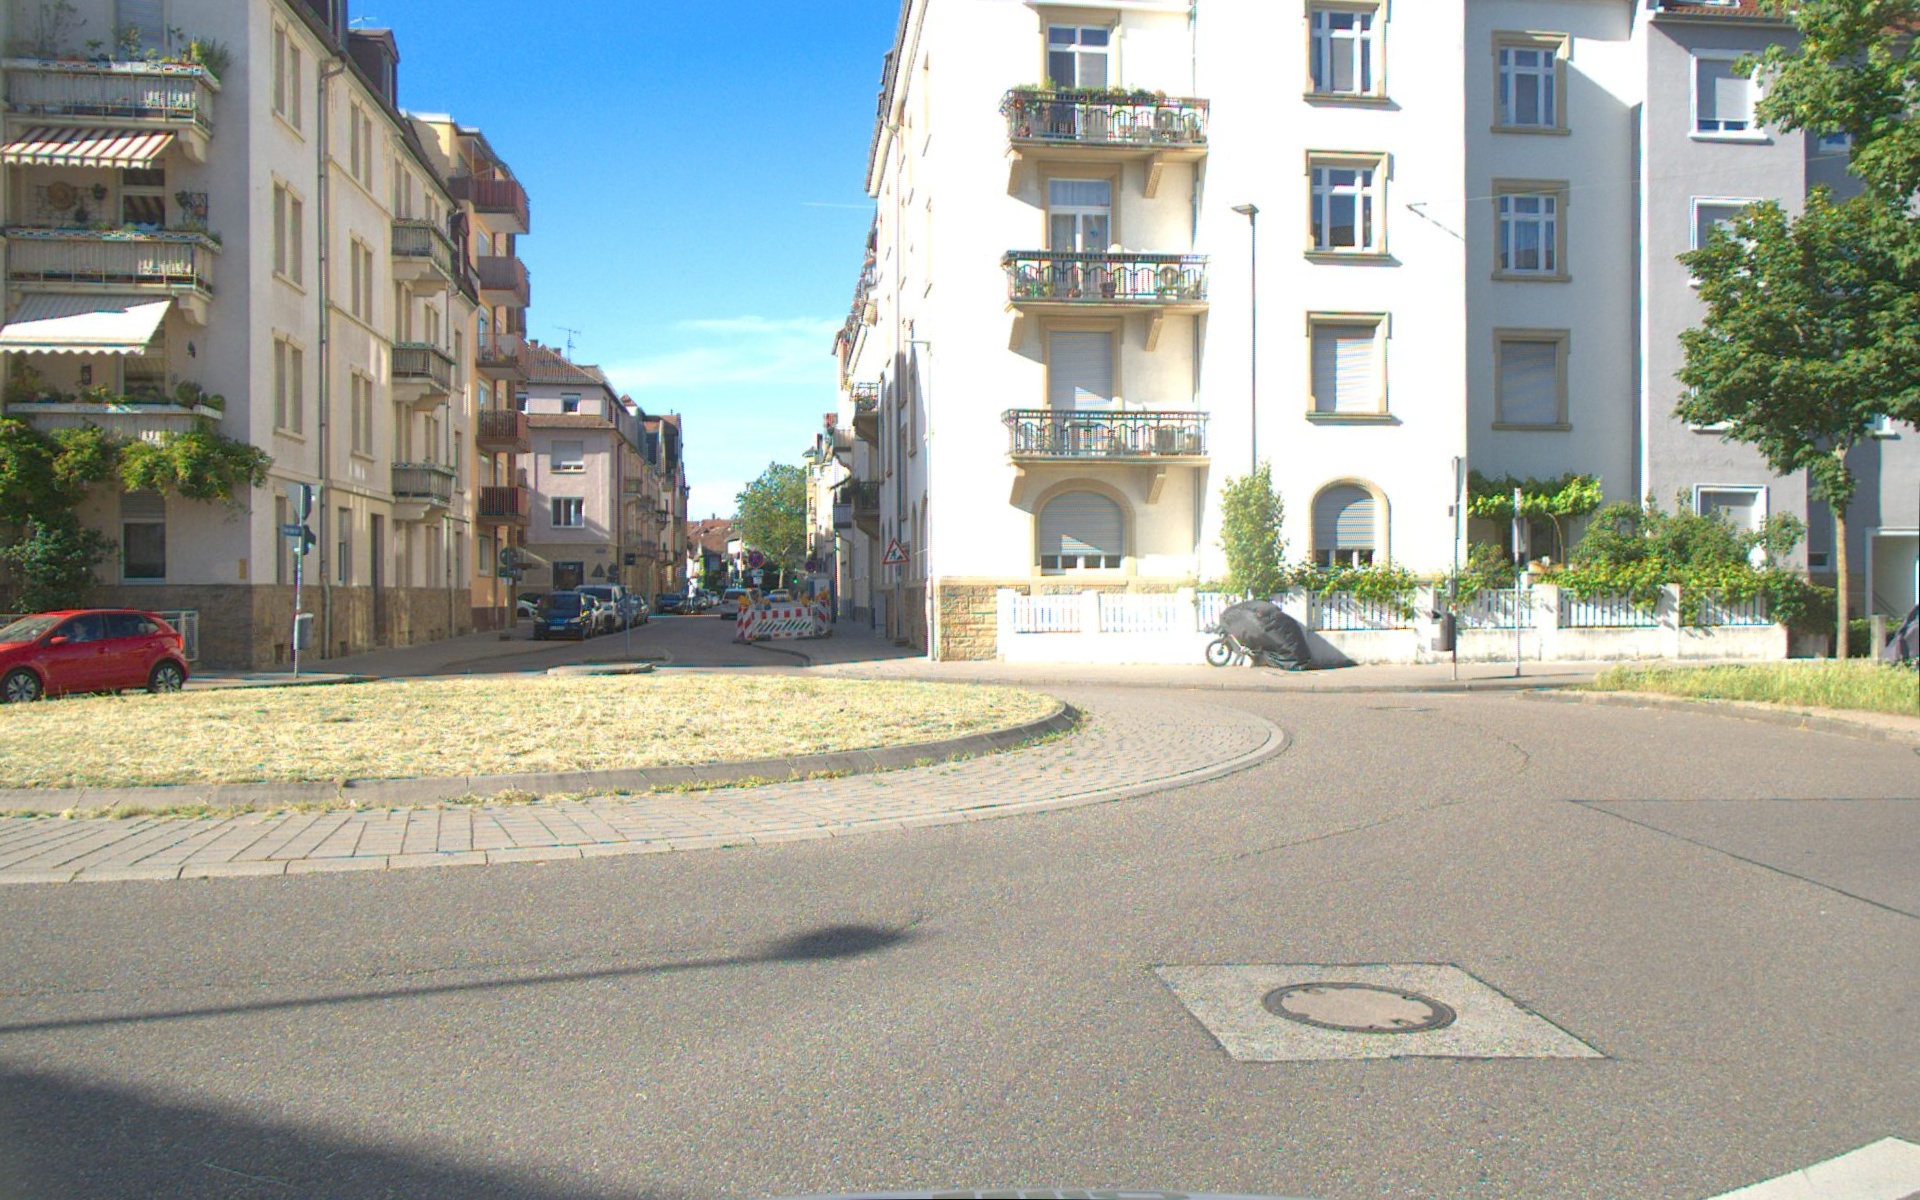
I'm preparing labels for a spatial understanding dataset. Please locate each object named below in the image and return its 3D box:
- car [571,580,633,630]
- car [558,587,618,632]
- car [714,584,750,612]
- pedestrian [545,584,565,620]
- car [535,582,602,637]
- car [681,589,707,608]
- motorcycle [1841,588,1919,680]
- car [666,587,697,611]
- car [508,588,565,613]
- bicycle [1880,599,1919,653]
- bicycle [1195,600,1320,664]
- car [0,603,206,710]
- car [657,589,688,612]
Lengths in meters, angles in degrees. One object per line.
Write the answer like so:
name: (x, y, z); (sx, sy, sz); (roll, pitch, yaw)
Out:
car: (-14.648, 0.169, 67.851); (1.938, 1.959, 5.302); (1, 0, -7)
car: (-14.000, 0.332, 62.363); (1.729, 1.649, 4.289); (1, 0, -7)
car: (-13.025, -0.097, 94.660); (1.803, 1.456, 4.023); (-2, -1, -6)
pedestrian: (-21.084, 0.121, 86.097); (0.907, 1.849, 0.992); (1, 0, -10)
car: (-13.430, 0.295, 56.901); (1.729, 1.802, 4.288); (1, 0, -7)
car: (-22.289, -0.112, 138.675); (1.941, 1.508, 4.321); (2, -1, -7)
motorcycle: (13.995, 0.467, 23.466); (1.104, 1.290, 2.774); (0, 0, -13)
car: (-20.599, -0.059, 122.512); (1.965, 1.610, 4.480); (2, -1, -7)
car: (-25.945, 0.024, 101.274); (3.466, 1.464, 1.696); (2, 1, 40)
bicycle: (19.987, 0.516, 33.676); (2.206, 1.078, 0.682); (-1, 0, -6)
bicycle: (5.682, 0.593, 31.644); (2.240, 1.178, 0.764); (1, 0, 36)
car: (-13.832, 0.835, 25.307); (1.678, 1.406, 3.997); (-1, 1, 26)
car: (-19.439, 0.035, 112.015); (1.647, 1.451, 4.269); (2, -1, -5)
